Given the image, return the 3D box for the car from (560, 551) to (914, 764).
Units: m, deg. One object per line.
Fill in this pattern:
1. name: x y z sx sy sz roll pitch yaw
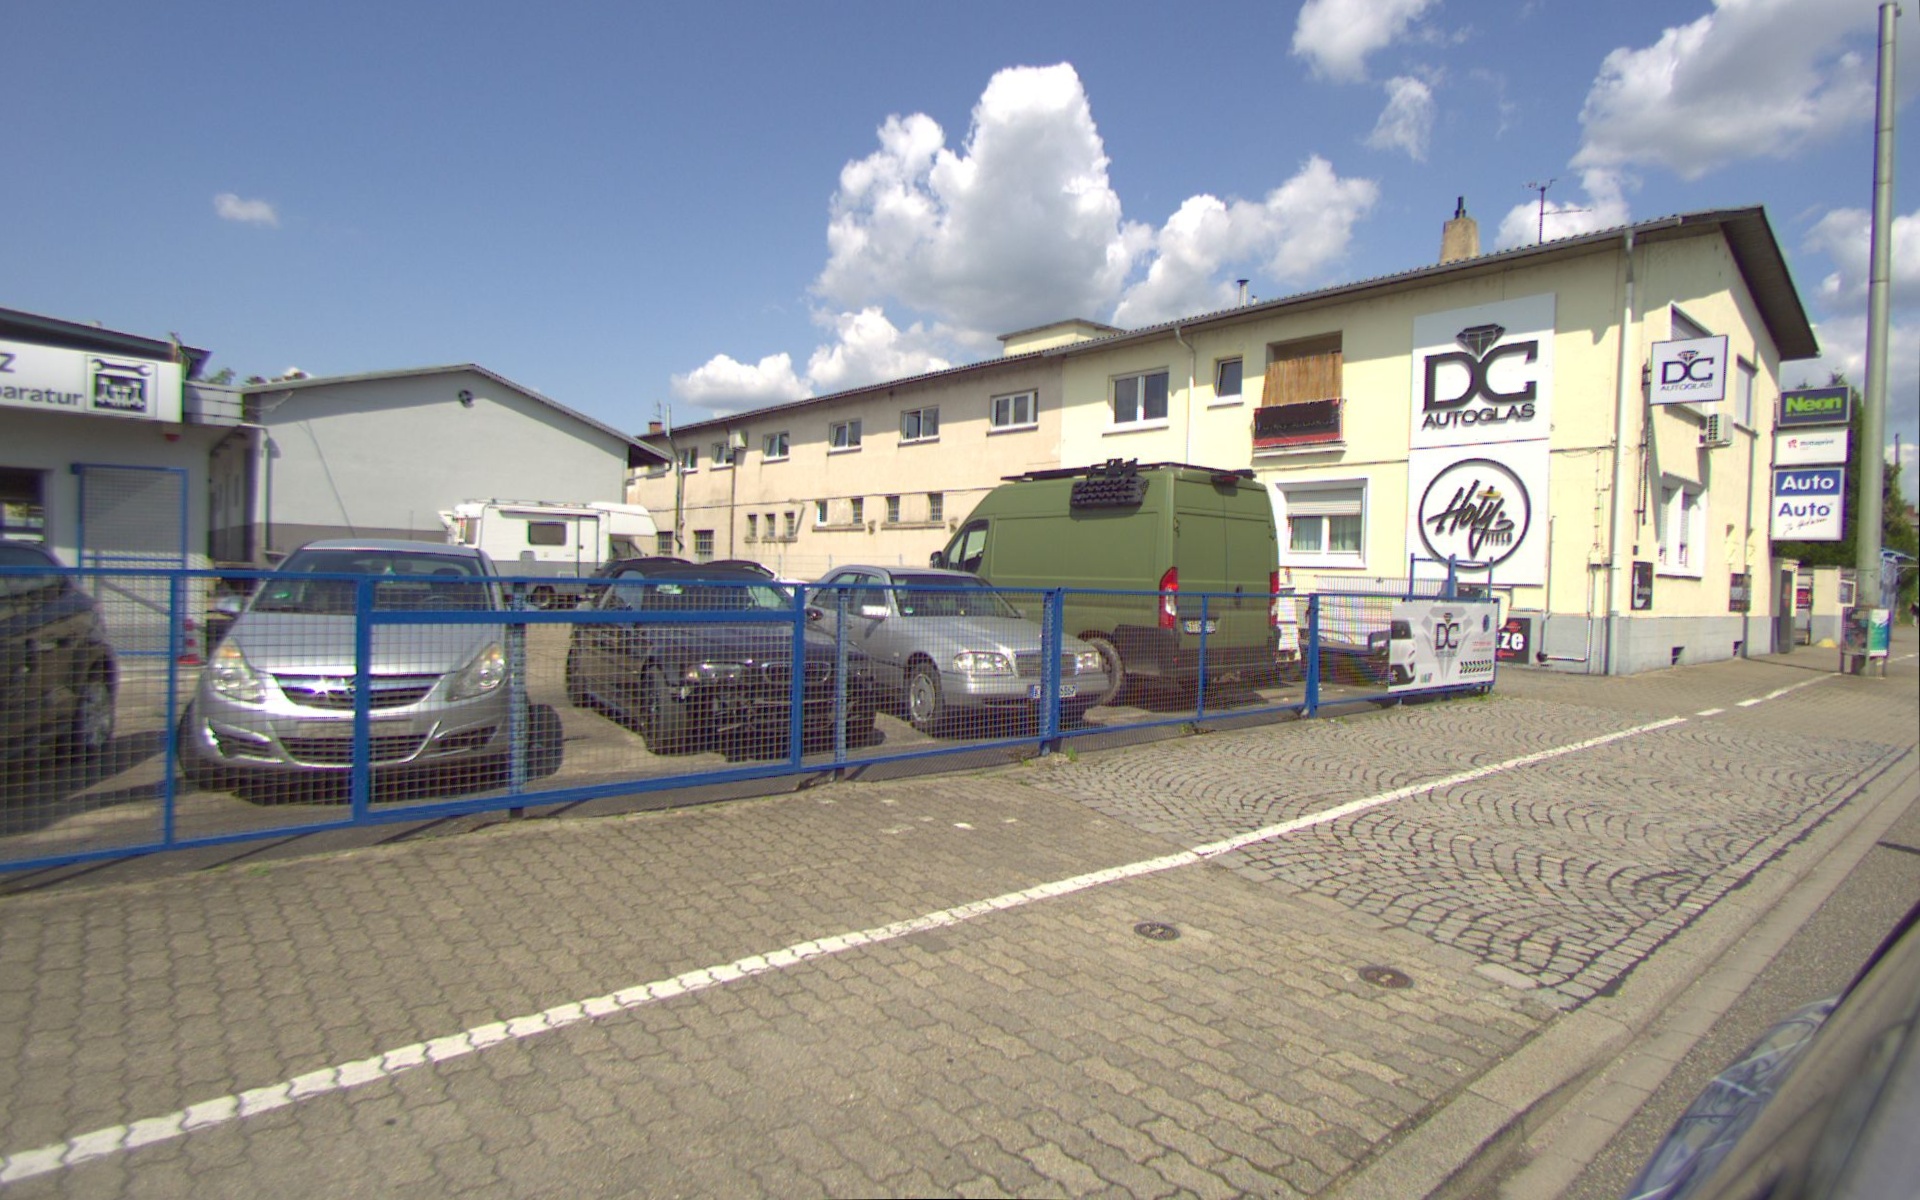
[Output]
1. car: -2.128 0.311 8.744 1.768 1.403 3.837 1 2 -32

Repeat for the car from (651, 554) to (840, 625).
1. car: -4.929 -0.244 23.517 3.939 1.497 1.719 0 2 -41

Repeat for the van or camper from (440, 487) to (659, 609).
1. van or camper: -11.010 -1.322 27.366 4.971 2.999 2.284 0 2 -42

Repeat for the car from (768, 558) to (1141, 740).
1. car: -0.299 0.321 10.203 1.768 1.413 4.216 1 2 -33

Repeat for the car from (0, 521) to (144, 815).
1. car: -5.750 0.325 5.032 1.685 1.497 4.012 1 2 -25

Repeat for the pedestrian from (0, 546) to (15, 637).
1. pedestrian: -13.261 -0.127 13.839 0.479 1.228 0.501 1 1 -42

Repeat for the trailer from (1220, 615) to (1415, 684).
1. trailer: 5.079 0.672 14.526 1.245 0.776 2.330 0 2 -39

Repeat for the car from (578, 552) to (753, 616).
1. car: -7.482 -0.408 25.887 3.939 1.497 1.719 0 2 -41

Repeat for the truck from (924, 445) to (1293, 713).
1. truck: 1.620 -0.283 12.143 2.033 2.639 3.996 1 2 -40

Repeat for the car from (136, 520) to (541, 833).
1. car: -3.954 0.303 7.100 1.766 1.497 4.158 1 2 -24

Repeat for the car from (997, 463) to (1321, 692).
1. car: 2.609 -0.343 14.140 1.771 2.702 4.208 1 2 -40
